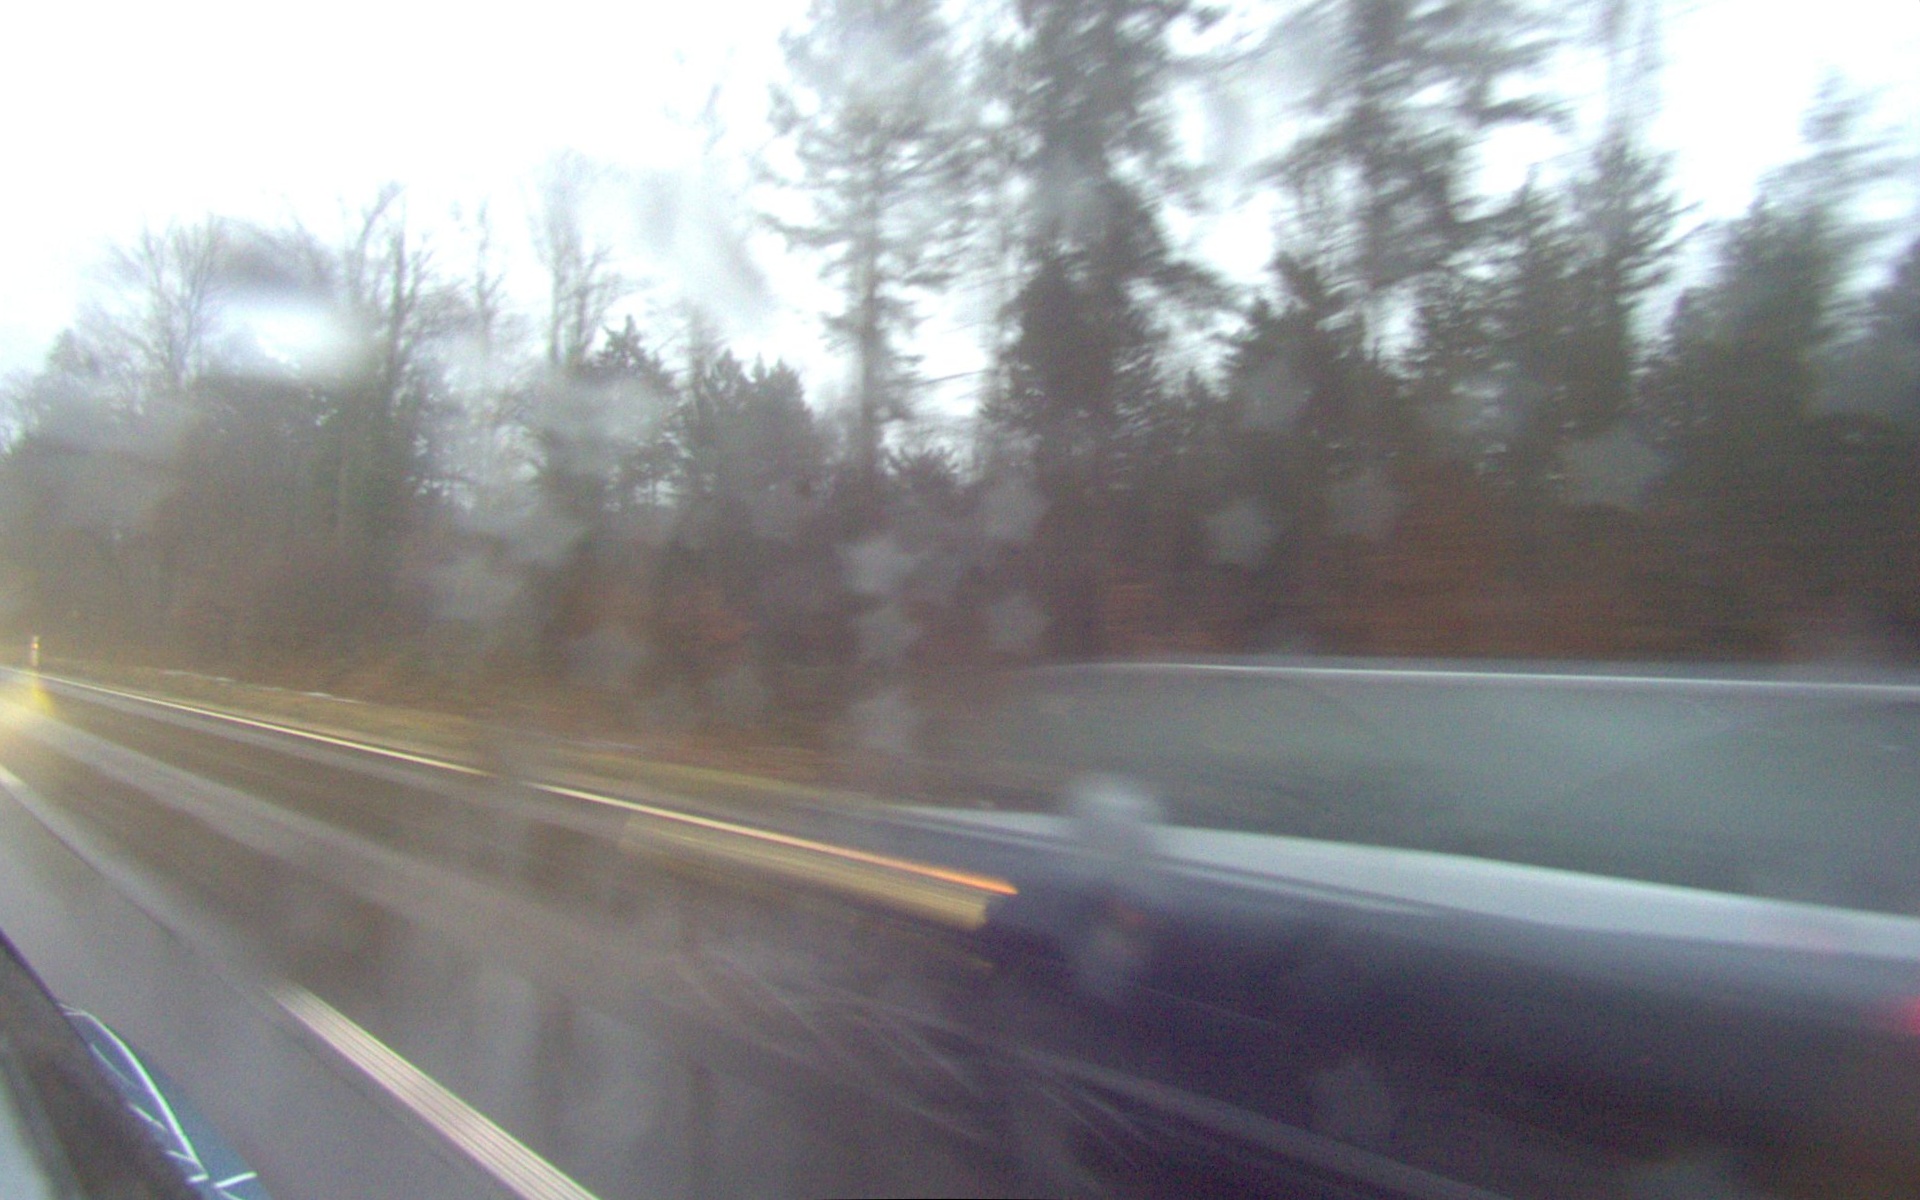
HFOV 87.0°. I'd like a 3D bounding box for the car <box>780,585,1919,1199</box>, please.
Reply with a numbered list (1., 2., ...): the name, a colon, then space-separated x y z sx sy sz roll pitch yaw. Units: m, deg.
1. car: 1.490 0.727 2.446 3.998 1.431 1.673 -2 -3 41
